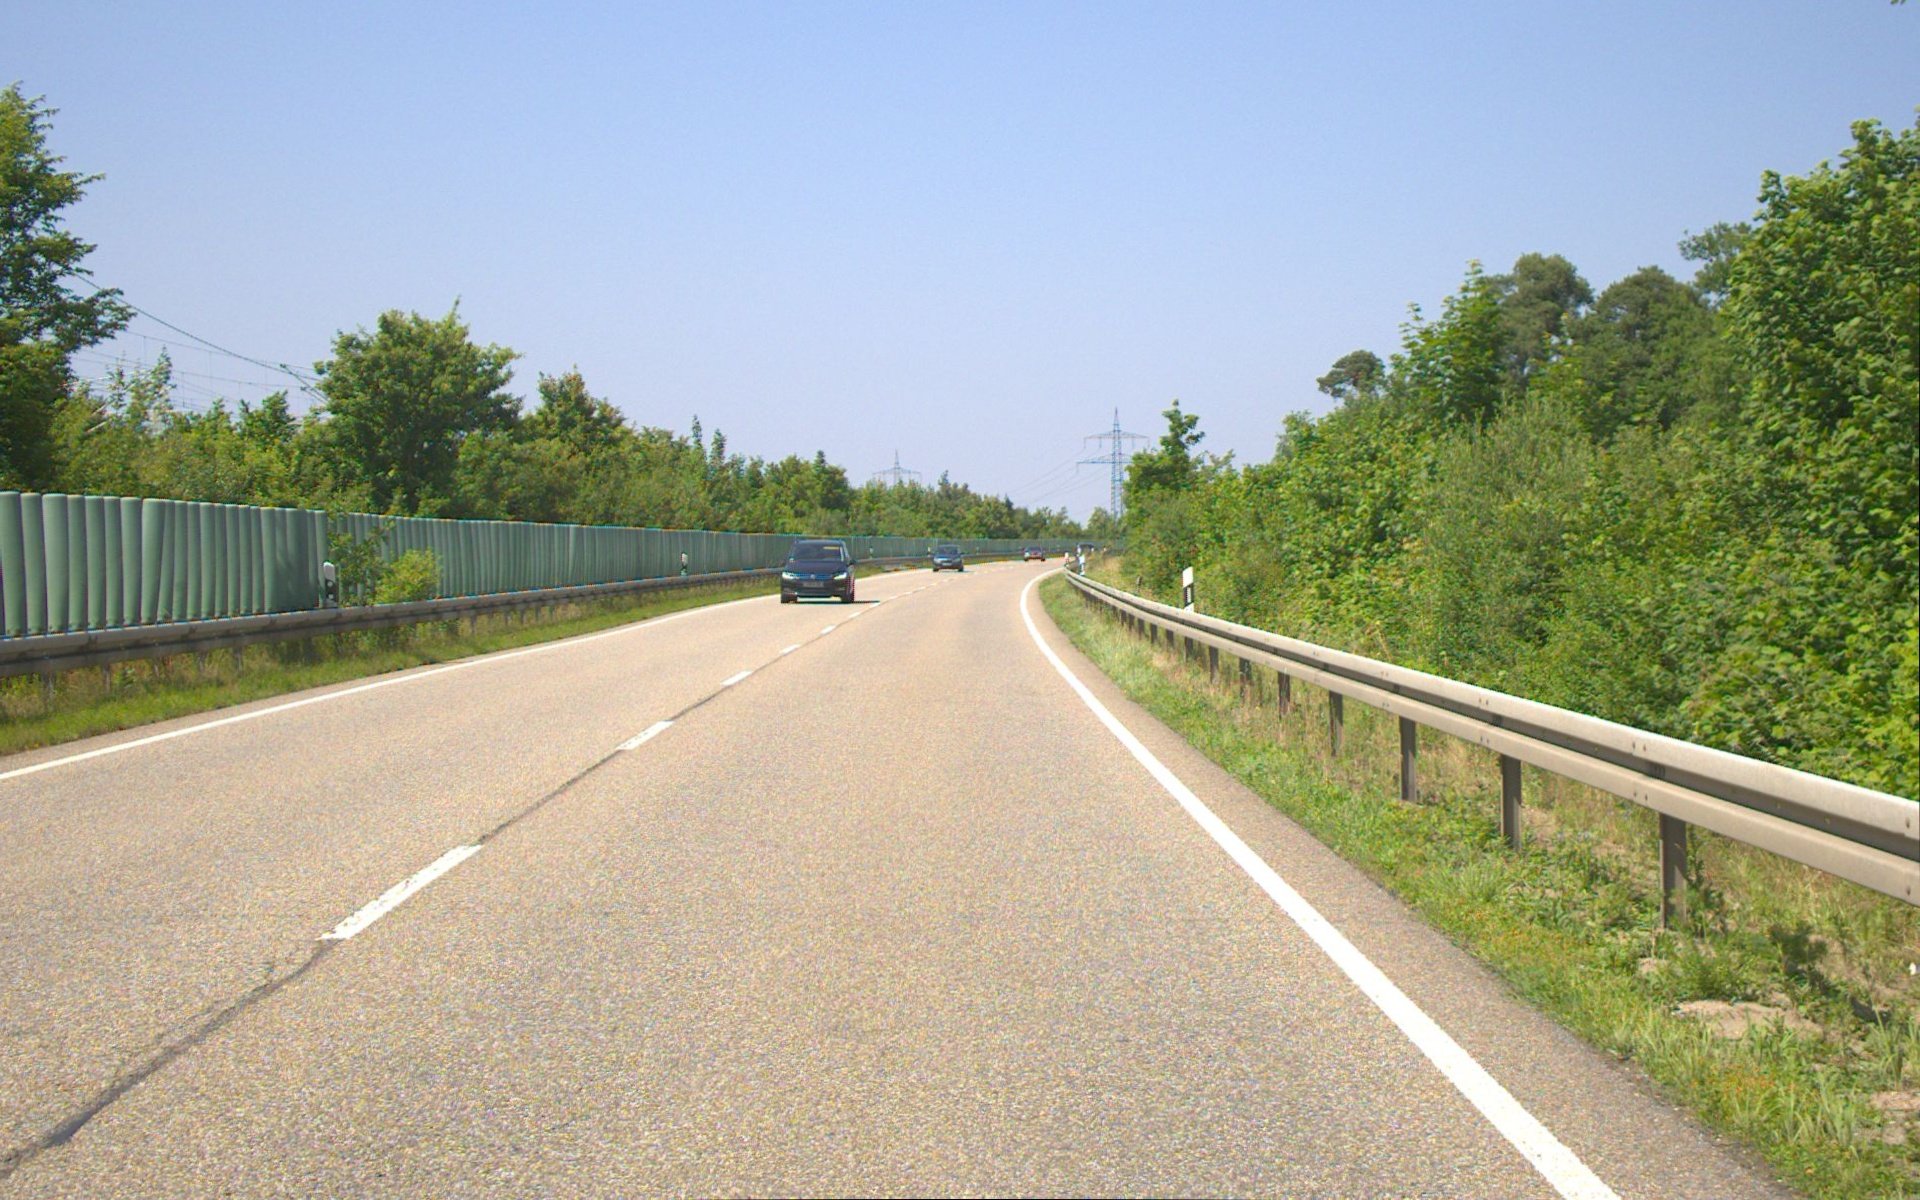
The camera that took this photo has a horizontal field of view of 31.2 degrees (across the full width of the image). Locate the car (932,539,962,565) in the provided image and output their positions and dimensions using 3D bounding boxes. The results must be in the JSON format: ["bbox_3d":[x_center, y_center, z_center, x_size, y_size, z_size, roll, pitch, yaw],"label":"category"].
[{"bbox_3d":[-0.724,-2.729,195.506,1.648,1.474,3.677,0,1,0],"label":"car"}]

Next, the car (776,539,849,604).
[{"bbox_3d":[-3.848,-0.751,90.193,1.764,1.634,4.127,0,1,-1],"label":"car"}]
